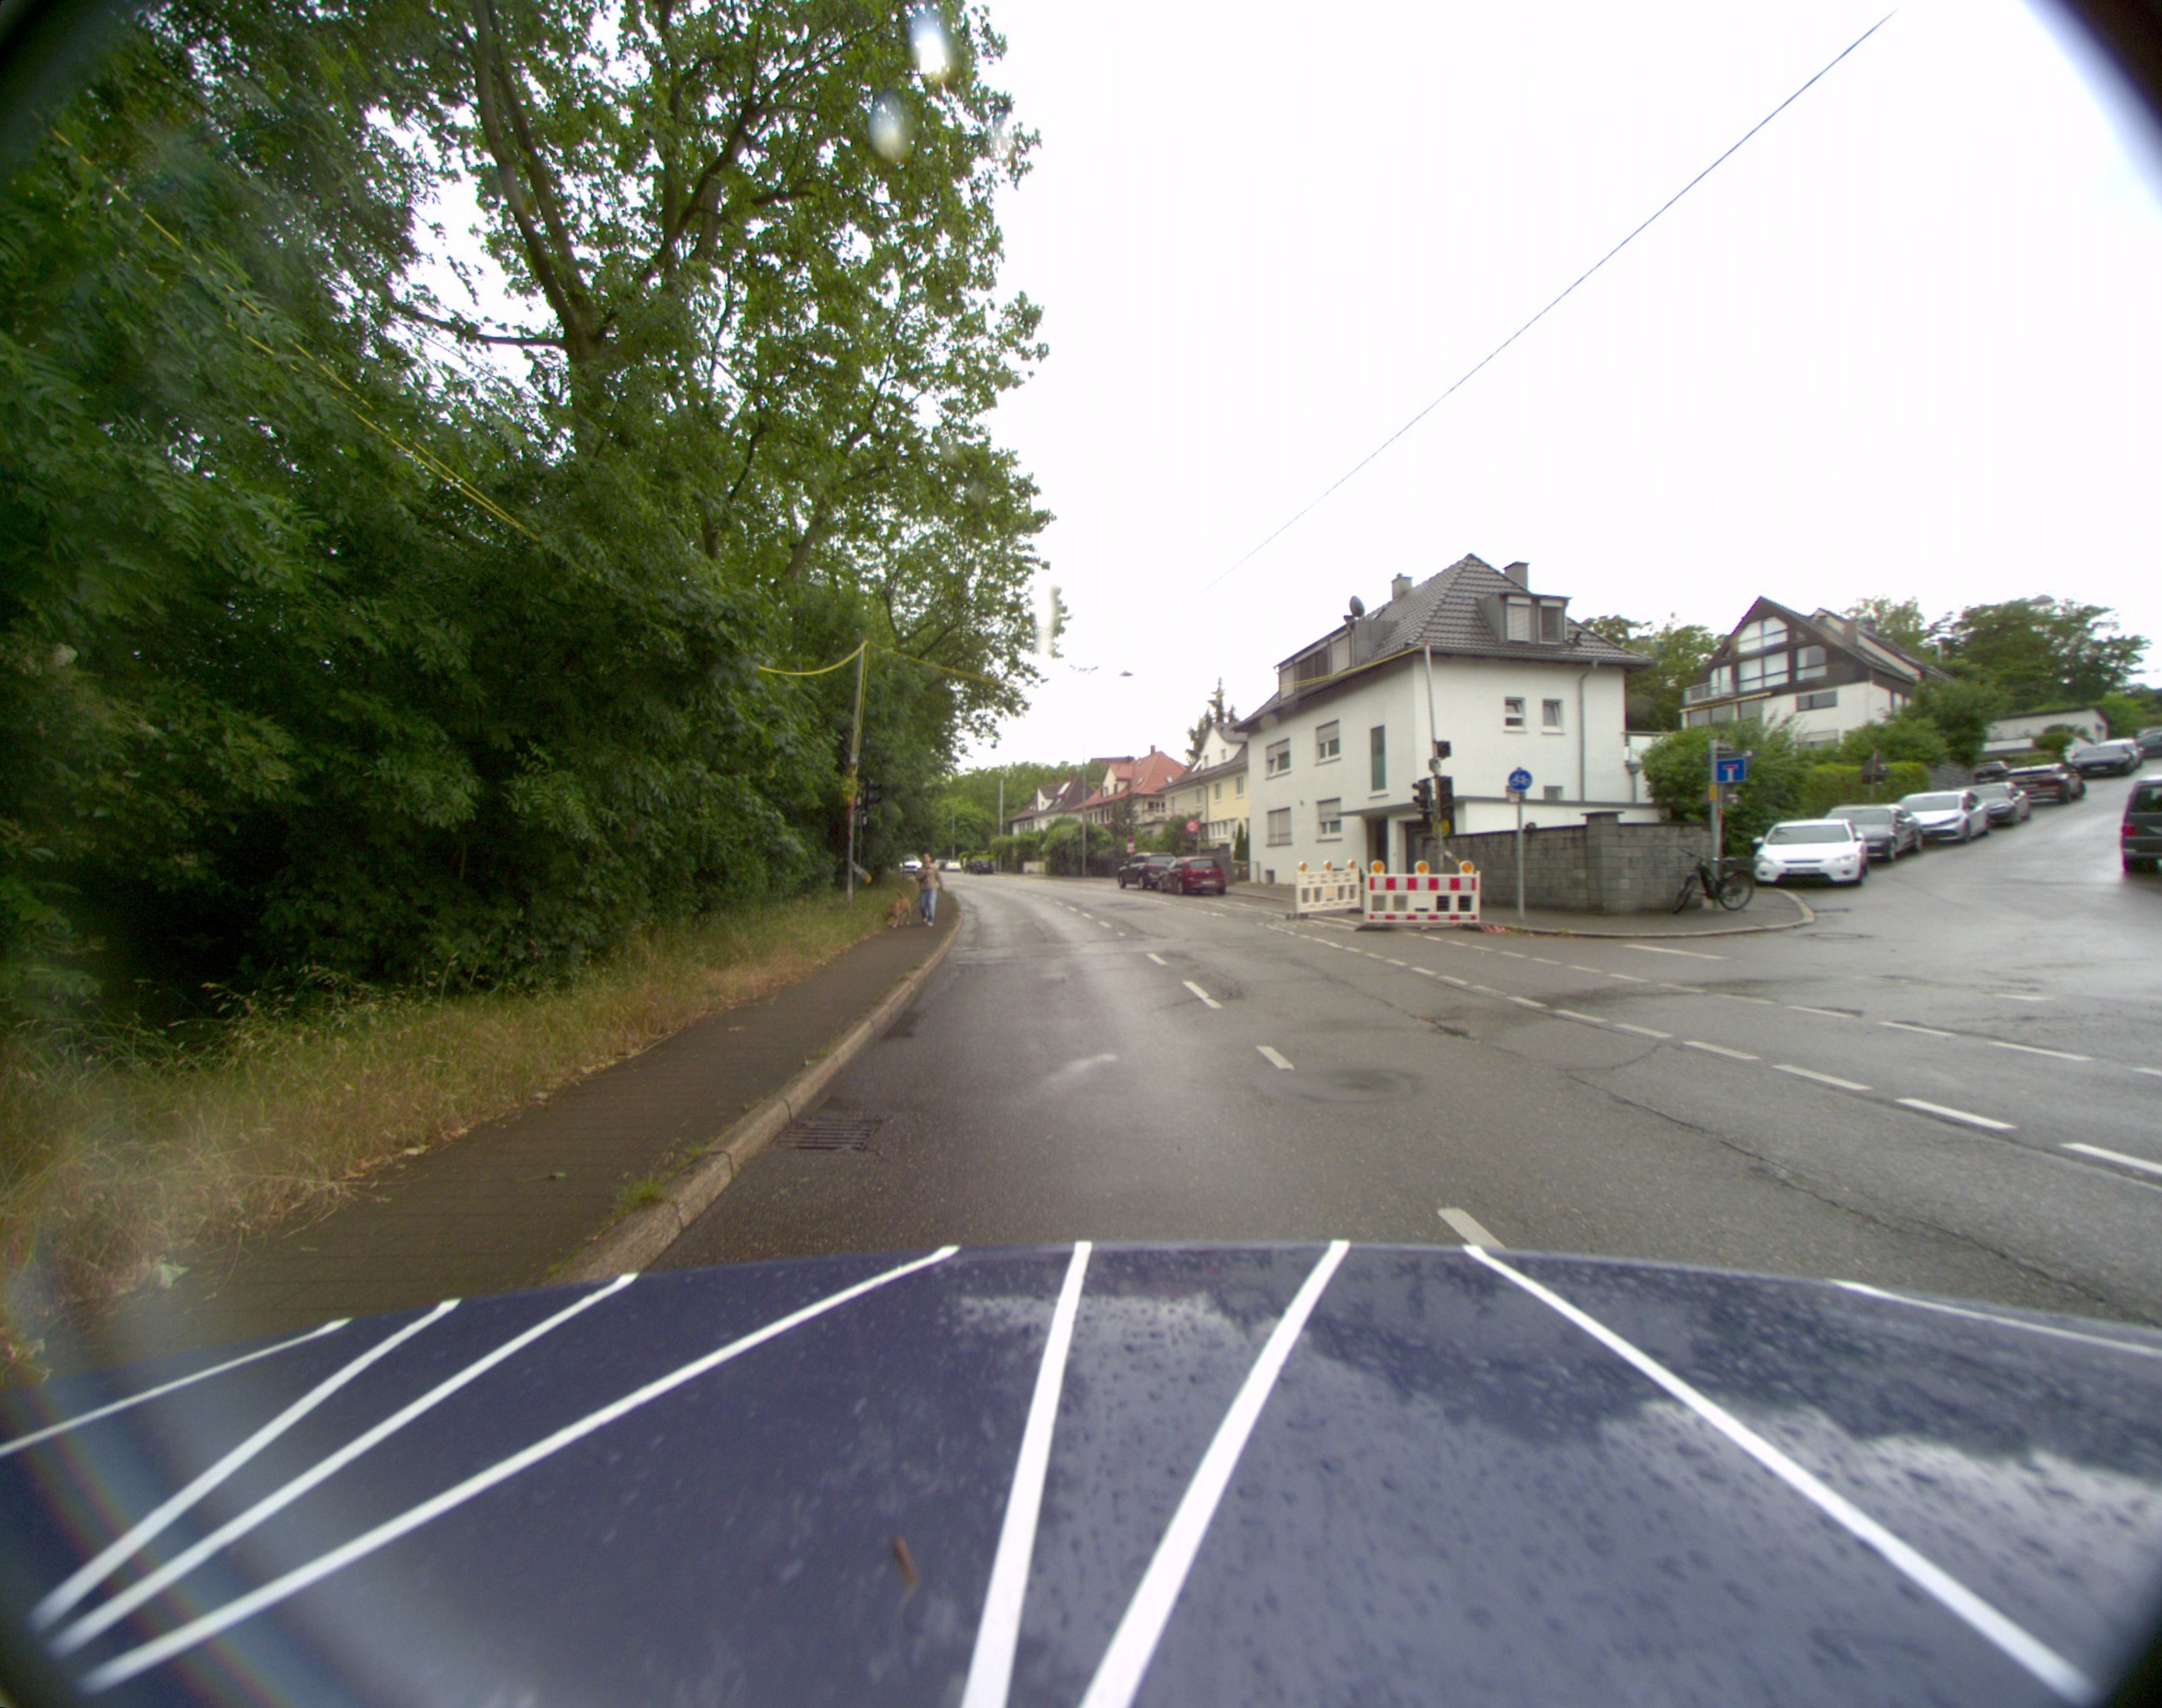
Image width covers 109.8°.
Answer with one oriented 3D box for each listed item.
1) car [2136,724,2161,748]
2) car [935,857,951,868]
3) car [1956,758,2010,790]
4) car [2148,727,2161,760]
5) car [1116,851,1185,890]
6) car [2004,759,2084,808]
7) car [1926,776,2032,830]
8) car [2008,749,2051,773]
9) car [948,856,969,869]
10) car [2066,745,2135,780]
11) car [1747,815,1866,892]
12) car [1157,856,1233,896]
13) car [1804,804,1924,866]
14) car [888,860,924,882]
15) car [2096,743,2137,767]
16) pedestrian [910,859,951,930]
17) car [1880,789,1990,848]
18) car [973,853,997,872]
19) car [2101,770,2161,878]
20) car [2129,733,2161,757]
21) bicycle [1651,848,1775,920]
[{"bbox_3d":[81.123,-8.873,55.961,1.754,1.508,3.961,-3,1,-35],"label":"car"},{"bbox_3d":[-18.734,1.126,103.021,1.691,1.419,3.770,-2,0,-17],"label":"car"},{"bbox_3d":[52.871,-4.654,44.520,4.020,1.545,1.812,-3,1,-37],"label":"car"},{"bbox_3d":[72.469,-7.453,48.984,2.003,2.000,3.993,-2,-4,-32],"label":"car"},{"bbox_3d":[3.133,0.728,35.040,1.798,1.630,4.150,-1,0,-15],"label":"car"},{"bbox_3d":[40.722,-2.987,32.117,4.004,1.617,1.638,-8,4,-32],"label":"car"},{"bbox_3d":[32.330,-1.836,27.339,4.111,1.430,1.921,-9,4,-33],"label":"car"},{"bbox_3d":[57.243,-5.643,45.868,3.656,1.205,1.577,-7,3,-38],"label":"car"},{"bbox_3d":[-15.227,1.066,94.185,2.071,1.477,4.556,-2,0,-16],"label":"car"},{"bbox_3d":[54.818,-4.884,40.844,4.034,1.511,1.786,-2,0,-31],"label":"car"},{"bbox_3d":[17.778,-0.052,18.543,4.126,1.455,1.849,-7,4,-43],"label":"car"},{"bbox_3d":[4.385,0.814,29.912,1.787,1.423,3.844,-2,0,-10],"label":"car"},{"bbox_3d":[22.466,-0.562,21.764,3.910,1.380,1.719,-7,3,-34],"label":"car"},{"bbox_3d":[-16.525,1.582,71.602,2.106,1.908,5.079,-2,0,-27],"label":"car"},{"bbox_3d":[59.841,-5.747,43.901,2.988,1.191,1.305,-6,3,-35],"label":"car"},{"bbox_3d":[-3.260,0.860,16.497,0.735,1.490,0.785,0,1,-1],"label":"pedestrian"},{"bbox_3d":[27.272,-1.156,24.237,3.951,1.462,1.755,-7,3,-33],"label":"car"},{"bbox_3d":[-9.602,0.838,75.964,1.882,1.814,4.121,-2,0,-14],"label":"car"},{"bbox_3d":[23.885,-0.755,16.267,4.497,2.003,1.996,-7,3,-31],"label":"car"},{"bbox_3d":[68.329,-6.942,47.700,1.286,1.310,2.945,-3,1,-36],"label":"car"},{"bbox_3d":[11.589,0.533,13.942,2.006,1.232,0.510,-2,3,-8],"label":"bicycle"}]
